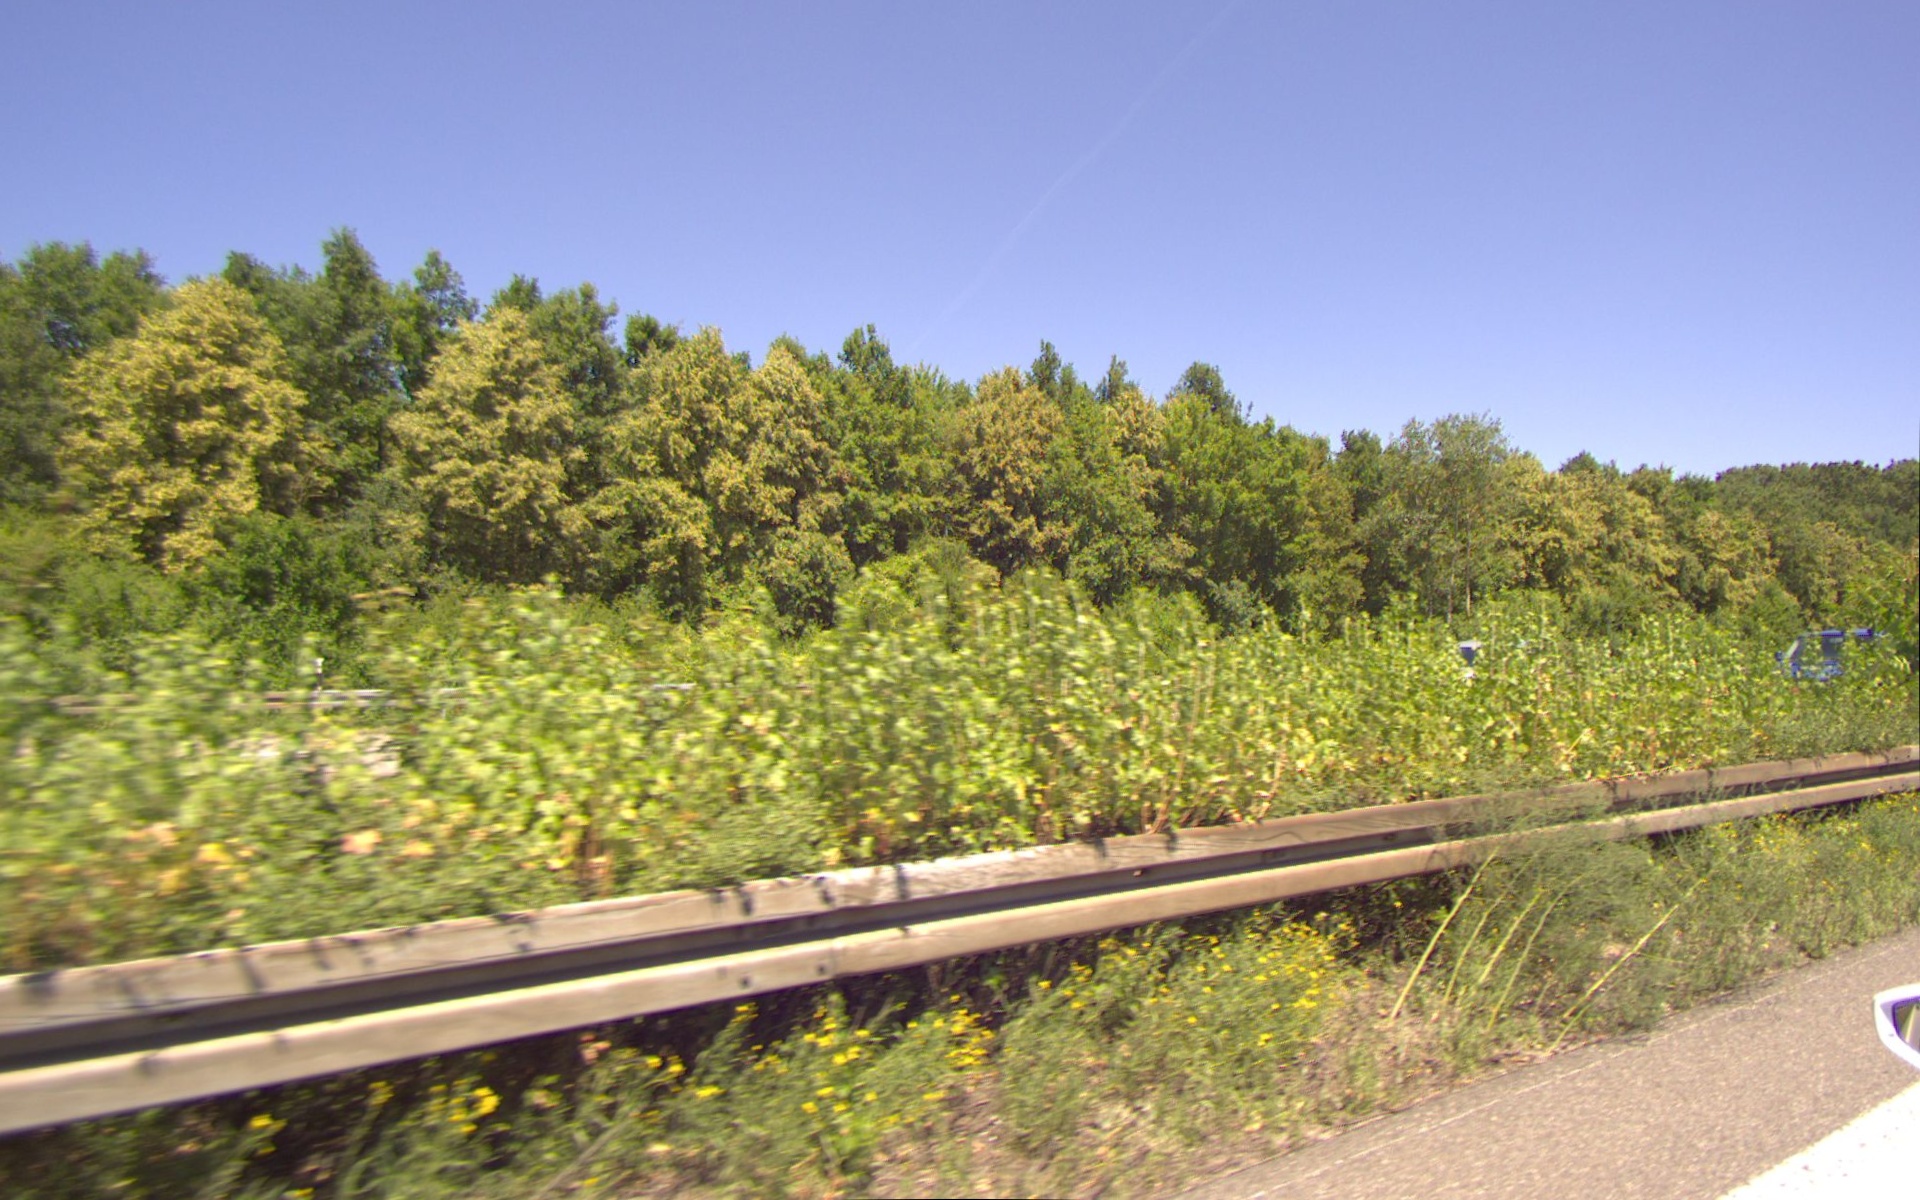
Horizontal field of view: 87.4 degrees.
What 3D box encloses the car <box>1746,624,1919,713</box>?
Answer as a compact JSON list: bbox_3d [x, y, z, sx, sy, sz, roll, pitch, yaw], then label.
[{"bbox_3d":[18.322,1.358,20.767,3.953,1.672,1.942,2,-2,-30],"label":"car"}]
